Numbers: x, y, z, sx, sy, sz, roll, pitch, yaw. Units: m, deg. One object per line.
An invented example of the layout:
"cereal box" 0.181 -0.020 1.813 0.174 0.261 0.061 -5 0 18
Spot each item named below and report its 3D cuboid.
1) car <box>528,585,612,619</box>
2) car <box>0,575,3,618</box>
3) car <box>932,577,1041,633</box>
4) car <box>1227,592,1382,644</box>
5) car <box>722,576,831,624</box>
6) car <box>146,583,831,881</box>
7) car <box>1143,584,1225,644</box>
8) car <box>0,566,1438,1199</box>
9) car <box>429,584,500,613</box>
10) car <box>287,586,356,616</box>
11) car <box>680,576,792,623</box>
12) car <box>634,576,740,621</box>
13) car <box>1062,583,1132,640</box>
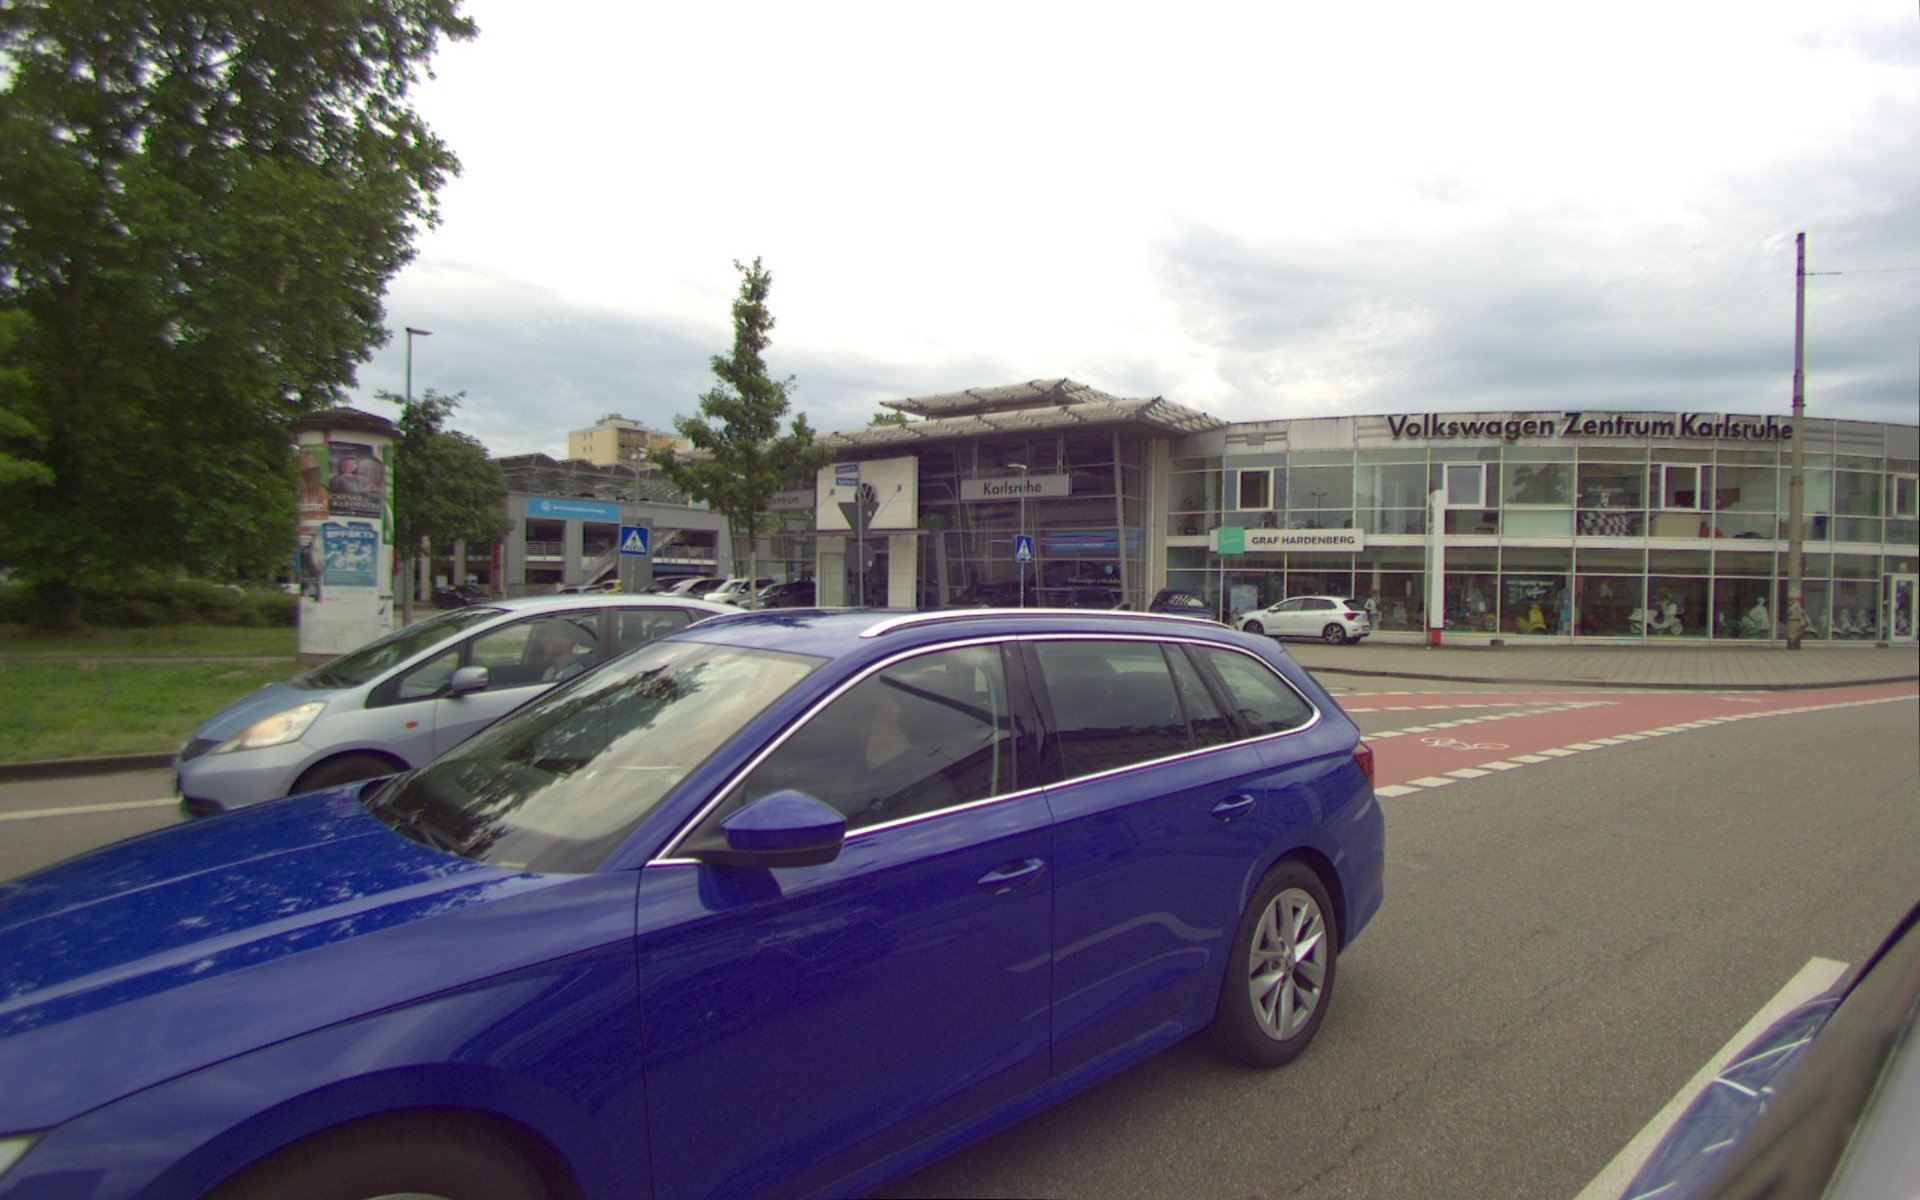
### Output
"car" -18.969 0.084 49.212 3.988 1.583 1.896 0 1 35
"car" -36.846 -0.153 36.072 4.408 1.567 1.854 1 0 13
"car" 1.008 0.124 35.545 1.846 1.652 4.463 0 3 31
"car" 10.662 0.510 31.472 4.243 1.471 1.757 1 0 40
"car" -7.655 -0.037 42.553 1.886 1.717 4.421 0 4 36
"car" -3.041 0.650 7.143 1.749 1.485 4.033 1 1 44
"car" 7.038 0.376 32.201 1.867 1.581 4.219 1 3 4
"car" -0.462 0.682 3.040 4.387 1.507 1.783 0 1 -40
"car" -29.305 -0.099 59.776 4.446 1.567 1.875 1 2 35
"car" -37.383 0.014 59.239 4.446 1.643 1.838 1 2 35
"car" -9.736 -0.054 44.300 1.850 1.720 4.716 0 4 36
"car" -12.315 -0.101 45.898 1.859 1.720 4.419 0 4 37
"car" 4.385 0.326 33.053 1.824 1.522 4.340 0 4 2
